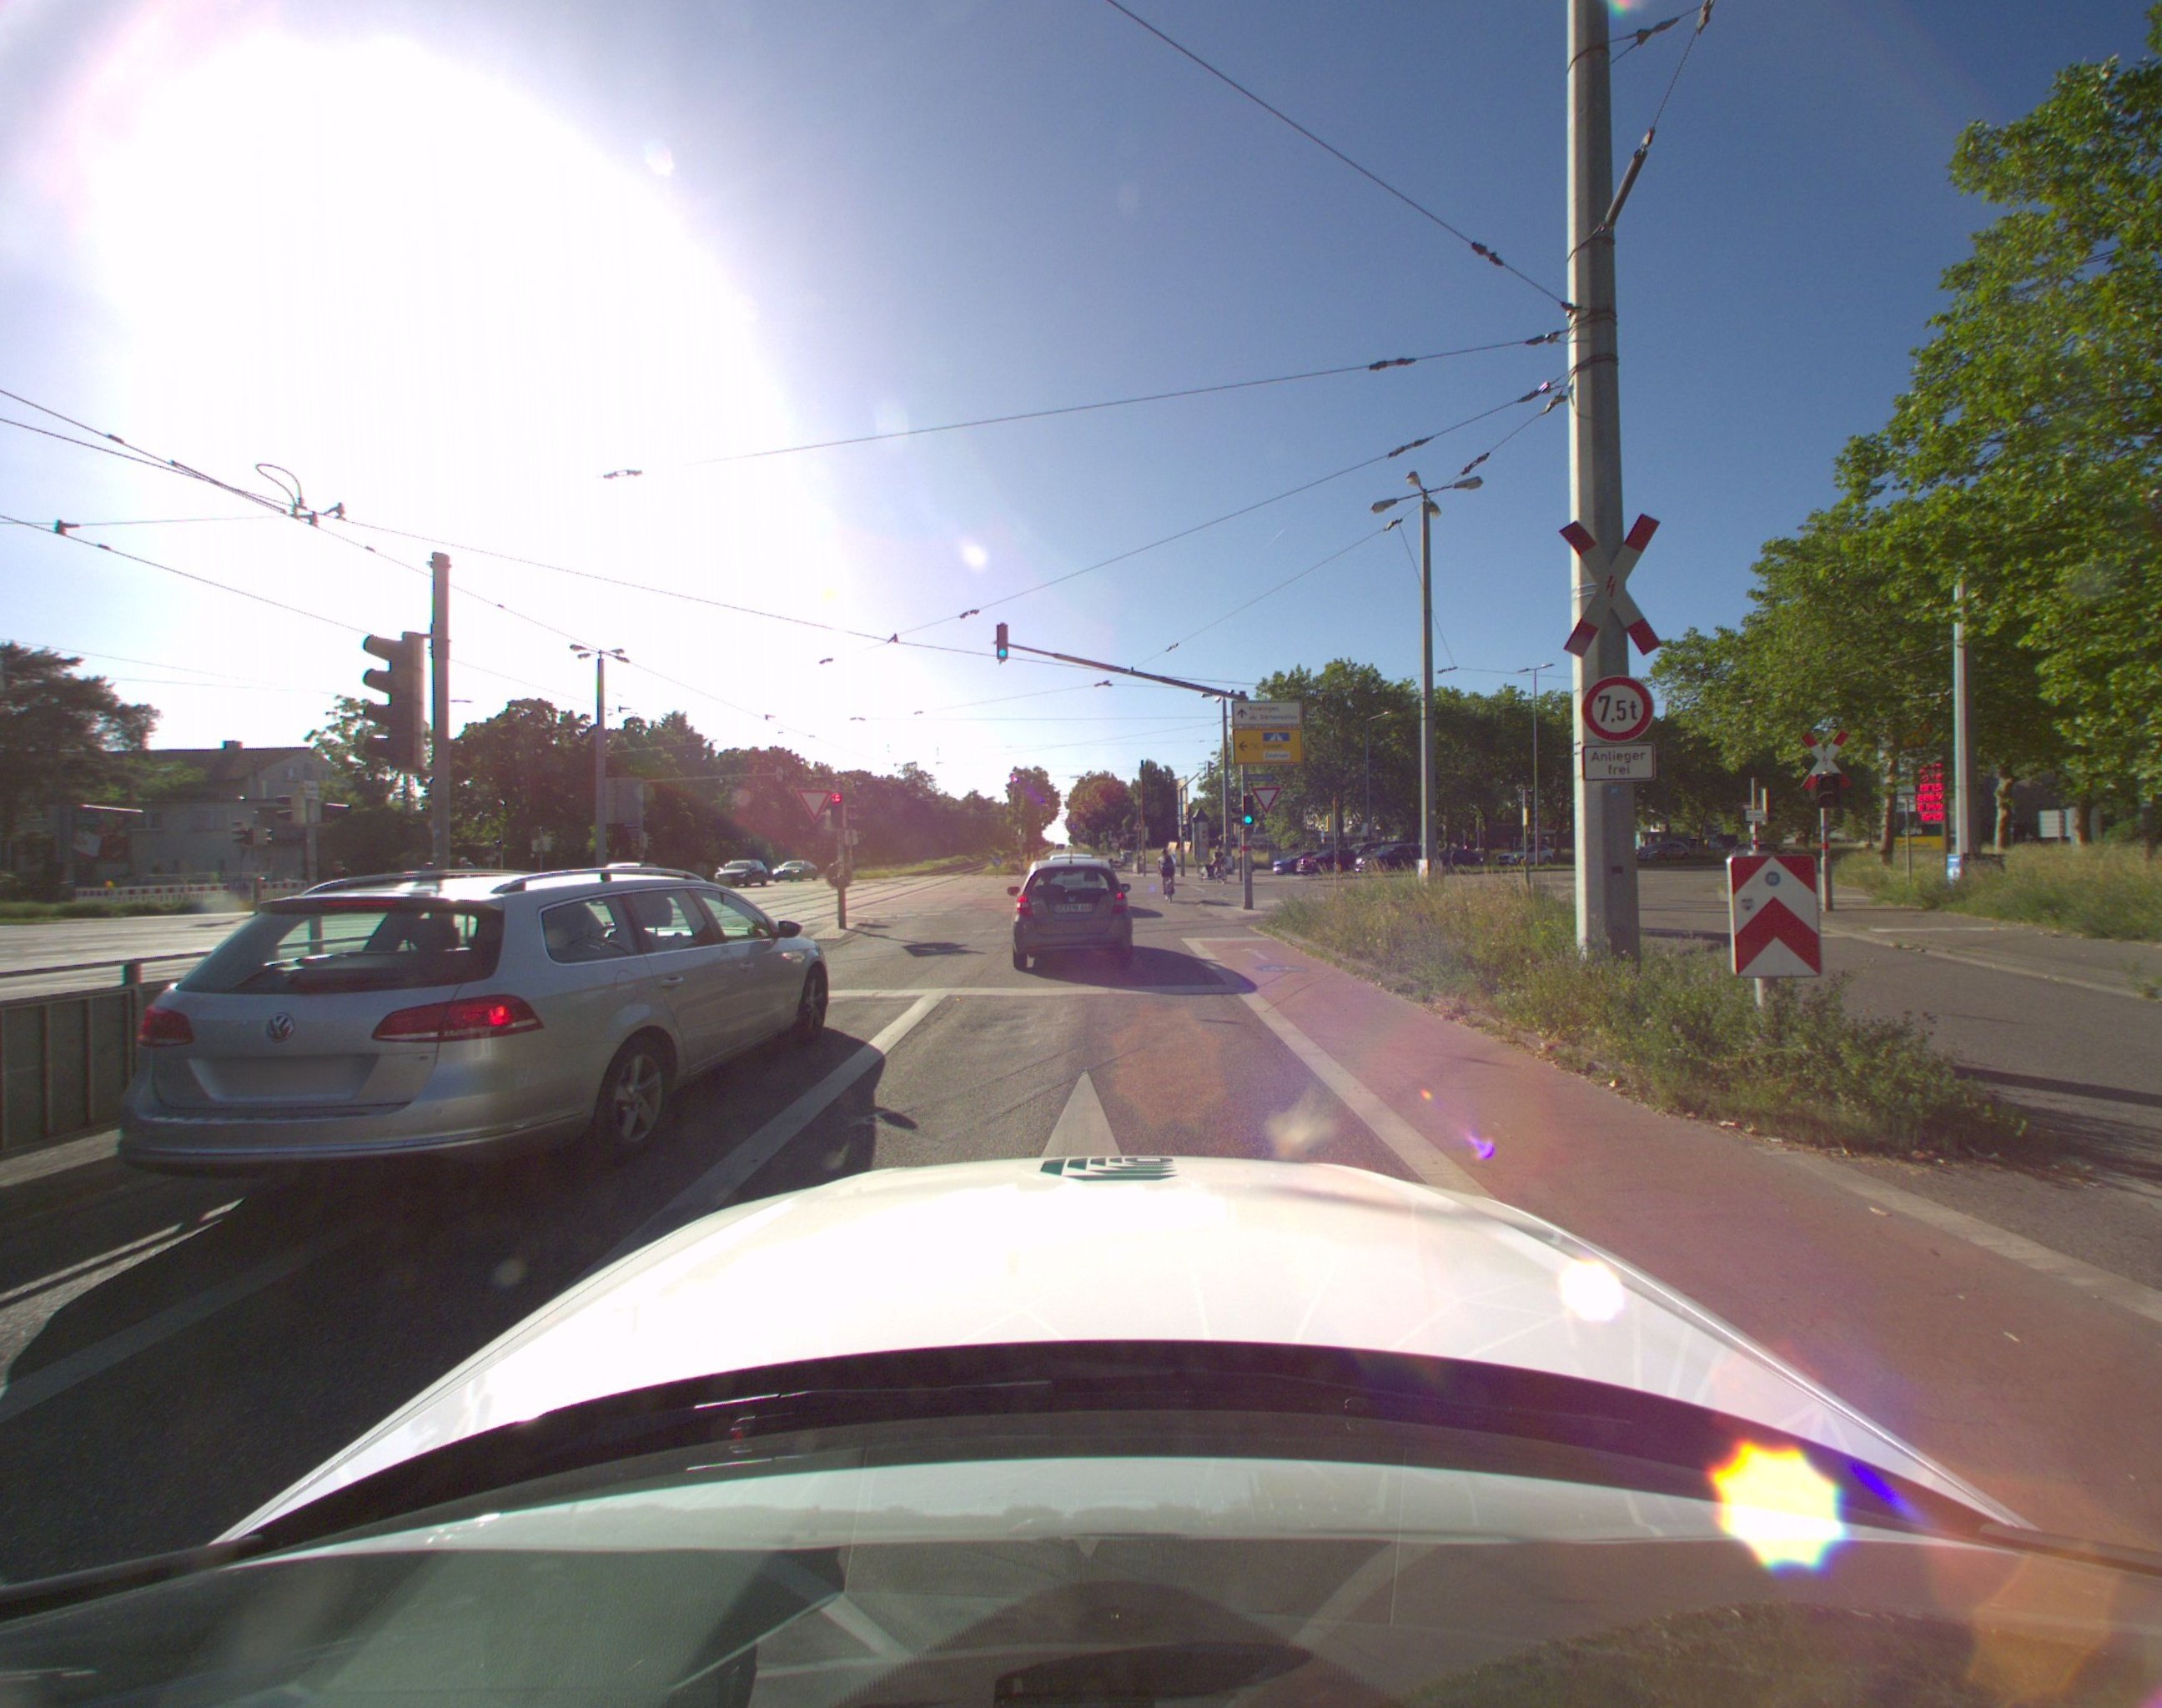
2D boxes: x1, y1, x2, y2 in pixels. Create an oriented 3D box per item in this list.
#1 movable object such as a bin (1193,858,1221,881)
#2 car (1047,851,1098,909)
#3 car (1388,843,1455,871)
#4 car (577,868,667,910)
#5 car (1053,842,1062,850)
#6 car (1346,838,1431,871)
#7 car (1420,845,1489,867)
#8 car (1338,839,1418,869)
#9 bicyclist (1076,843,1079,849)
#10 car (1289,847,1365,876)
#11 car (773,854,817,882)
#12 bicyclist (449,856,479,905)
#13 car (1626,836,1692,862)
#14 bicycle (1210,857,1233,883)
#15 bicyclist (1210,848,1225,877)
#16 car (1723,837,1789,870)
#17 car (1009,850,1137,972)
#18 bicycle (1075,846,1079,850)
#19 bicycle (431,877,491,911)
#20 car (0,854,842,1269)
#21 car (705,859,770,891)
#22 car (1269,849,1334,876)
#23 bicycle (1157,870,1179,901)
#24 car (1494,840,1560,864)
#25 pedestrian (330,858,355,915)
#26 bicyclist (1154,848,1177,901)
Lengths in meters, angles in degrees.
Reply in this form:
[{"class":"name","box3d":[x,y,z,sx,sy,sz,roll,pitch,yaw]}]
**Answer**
[{"class":"movable object such as a bin","box3d":[6.062,0.732,39.238,0.909,1.068,1.312,-1,0,-9]},{"class":"car","box3d":[-0.234,0.715,23.620,1.347,1.527,3.123,-1,0,0]},{"class":"car","box3d":[21.526,0.185,51.545,3.864,1.600,1.700,-1,0,-24]},{"class":"car","box3d":[-18.097,1.344,32.292,1.680,1.458,3.697,-1,0,-5]},{"class":"car","box3d":[-5.716,-1.930,199.408,1.987,2.013,4.000,-1,0,0]},{"class":"car","box3d":[17.159,-0.003,45.443,4.505,1.711,1.904,-1,0,-27]},{"class":"car","box3d":[26.386,0.147,57.514,4.580,1.408,1.918,-1,0,-27]},{"class":"car","box3d":[21.722,-0.007,59.738,5.096,2.070,2.126,-1,0,-6]},{"class":"bicyclist","box3d":[-0.962,-1.924,205.622,0.815,1.524,0.966,0,-1,0]},{"class":"car","box3d":[14.571,0.434,48.155,4.095,1.600,1.802,-1,0,-24]},{"class":"car","box3d":[-18.868,0.900,53.886,1.789,1.687,3.993,-1,0,-5]},{"class":"bicyclist","box3d":[-20.934,0.890,27.650,0.488,1.608,0.648,-1,0,1]},{"class":"car","box3d":[40.049,-0.354,56.413,4.008,1.618,1.982,-1,-3,-27]},{"class":"bicycle","box3d":[6.403,0.719,37.265,0.466,1.119,1.815,-1,0,-8]},{"class":"bicyclist","box3d":[6.327,0.391,37.834,0.509,1.340,0.563,-1,0,-9]},{"class":"car","box3d":[36.378,-0.017,43.861,3.789,1.704,1.807,-1,0,-35]},{"class":"car","box3d":[-0.083,0.743,12.516,1.665,1.515,3.674,1,1,1]},{"class":"bicycle","box3d":[-0.971,-1.546,205.596,0.815,1.048,2.505,0,-1,0]},{"class":"bicycle","box3d":[-20.926,1.346,27.528,0.505,1.042,1.949,-1,0,1]},{"class":"car","box3d":[-3.172,0.797,5.321,1.871,1.527,4.420,-1,0,0]},{"class":"car","box3d":[-18.919,1.106,45.123,1.809,1.596,4.687,-1,0,-3]},{"class":"car","box3d":[14.149,0.521,52.275,3.869,1.600,1.698,-1,0,-28]},{"class":"bicycle","box3d":[2.818,1.011,26.580,0.522,0.923,2.090,-1,0,2]},{"class":"car","box3d":[33.096,-0.125,60.407,4.786,1.682,1.892,0,-1,-27]},{"class":"pedestrian","box3d":[-25.997,1.140,28.666,0.615,1.948,0.767,-1,0,-43]},{"class":"bicyclist","box3d":[2.711,0.653,26.227,0.613,1.679,0.933,-1,0,0]}]
